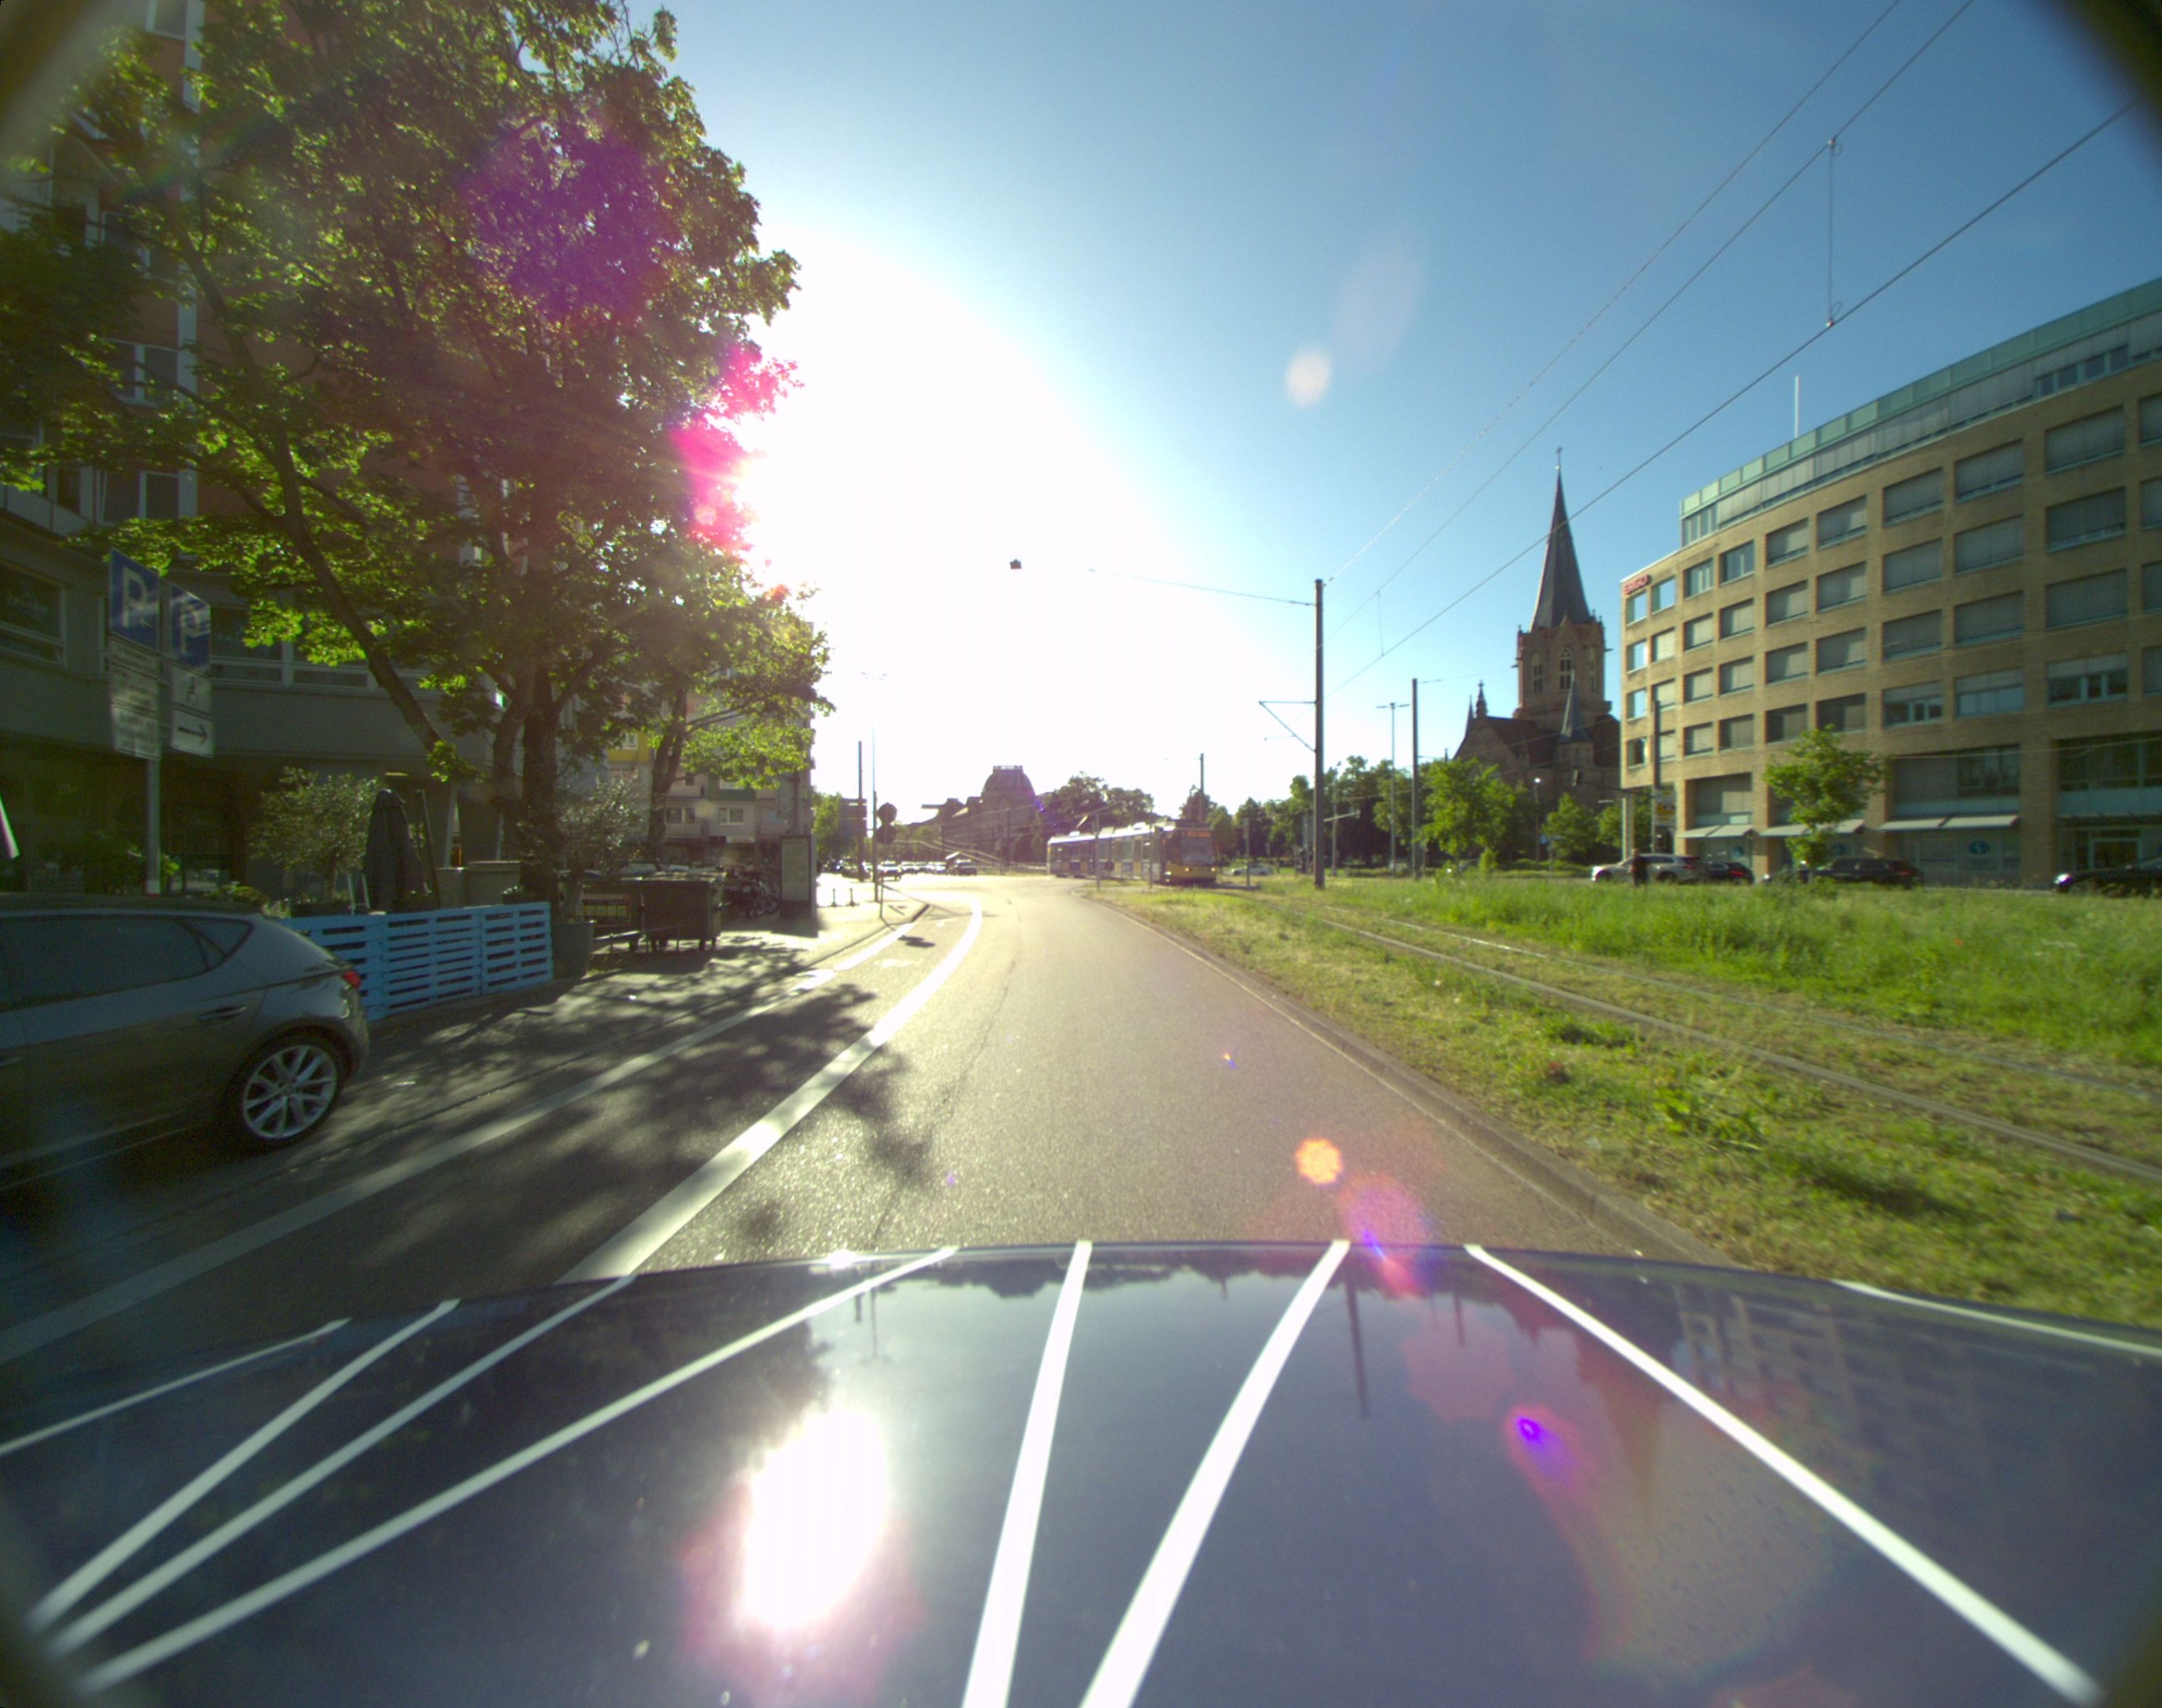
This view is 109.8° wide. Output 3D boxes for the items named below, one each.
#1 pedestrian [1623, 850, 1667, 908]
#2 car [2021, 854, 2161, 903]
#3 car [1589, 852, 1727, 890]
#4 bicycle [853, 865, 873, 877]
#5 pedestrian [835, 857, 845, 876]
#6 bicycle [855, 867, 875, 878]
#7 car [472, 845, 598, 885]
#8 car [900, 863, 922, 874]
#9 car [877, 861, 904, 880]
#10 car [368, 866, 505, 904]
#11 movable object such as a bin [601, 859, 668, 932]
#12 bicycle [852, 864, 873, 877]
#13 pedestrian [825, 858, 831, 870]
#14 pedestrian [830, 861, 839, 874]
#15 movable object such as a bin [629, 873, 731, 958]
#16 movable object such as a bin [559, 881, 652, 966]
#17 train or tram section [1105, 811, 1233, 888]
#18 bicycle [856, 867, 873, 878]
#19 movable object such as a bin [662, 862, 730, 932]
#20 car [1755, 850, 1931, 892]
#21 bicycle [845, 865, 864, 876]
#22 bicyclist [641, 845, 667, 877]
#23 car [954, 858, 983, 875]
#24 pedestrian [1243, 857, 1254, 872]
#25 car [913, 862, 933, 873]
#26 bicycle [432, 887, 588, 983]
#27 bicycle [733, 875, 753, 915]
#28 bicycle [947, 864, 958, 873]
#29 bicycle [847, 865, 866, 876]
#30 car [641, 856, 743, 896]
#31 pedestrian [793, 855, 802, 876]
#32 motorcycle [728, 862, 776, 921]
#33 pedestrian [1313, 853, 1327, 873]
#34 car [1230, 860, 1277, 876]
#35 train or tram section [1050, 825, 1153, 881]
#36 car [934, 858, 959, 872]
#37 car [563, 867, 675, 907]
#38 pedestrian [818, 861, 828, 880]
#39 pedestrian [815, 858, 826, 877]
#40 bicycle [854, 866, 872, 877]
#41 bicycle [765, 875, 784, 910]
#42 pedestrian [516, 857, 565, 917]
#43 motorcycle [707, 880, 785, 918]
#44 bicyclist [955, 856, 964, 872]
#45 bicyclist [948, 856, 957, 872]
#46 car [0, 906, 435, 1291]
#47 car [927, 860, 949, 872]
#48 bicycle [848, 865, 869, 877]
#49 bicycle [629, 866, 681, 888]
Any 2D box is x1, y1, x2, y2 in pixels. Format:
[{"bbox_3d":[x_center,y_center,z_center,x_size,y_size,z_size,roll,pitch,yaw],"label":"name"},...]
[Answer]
[{"bbox_3d":[16.441,0.713,22.151,0.735,1.661,0.745,-1,0,5],"label":"pedestrian"},{"bbox_3d":[34.006,0.752,24.022,2.001,1.439,5.011,-2,1,-19],"label":"car"},{"bbox_3d":[28.370,0.817,37.598,2.109,1.724,5.076,-1,0,-23],"label":"car"},{"bbox_3d":[-19.966,1.549,69.575,1.757,1.093,0.398,0,1,-23],"label":"bicycle"},{"bbox_3d":[-22.234,1.146,70.011,0.792,1.766,0.873,-1,0,-22],"label":"pedestrian"},{"bbox_3d":[-19.507,1.643,68.528,1.707,1.005,0.410,1,0,-24],"label":"bicycle"},{"bbox_3d":[-30.828,0.602,43.115,5.259,2.186,2.374,0,0,-17],"label":"car"},{"bbox_3d":[-20.911,1.713,93.171,1.990,1.284,4.385,-1,0,-22],"label":"car"},{"bbox_3d":[-18.059,1.530,71.986,1.905,1.677,4.110,-1,0,-22],"label":"car"},{"bbox_3d":[-27.554,1.299,32.650,4.168,1.419,1.573,-1,2,-23],"label":"car"},{"bbox_3d":[-10.804,0.973,18.445,1.261,1.699,0.943,0,1,-22],"label":"movable object such as a bin"},{"bbox_3d":[-19.865,1.470,69.163,1.759,1.070,0.405,-2,1,-23],"label":"bicycle"},{"bbox_3d":[-35.019,1.331,105.145,0.773,1.641,0.671,-1,0,-10],"label":"pedestrian"},{"bbox_3d":[-35.764,2.007,110.149,0.869,1.872,1.219,-1,0,-38],"label":"pedestrian"},{"bbox_3d":[-7.140,1.073,13.584,1.284,1.383,0.921,-2,1,-3],"label":"movable object such as a bin"},{"bbox_3d":[-8.396,1.196,13.487,1.177,1.348,0.926,-2,1,-20],"label":"movable object such as a bin"},{"bbox_3d":[4.496,-0.177,43.364,2.960,3.663,13.170,-1,0,-13],"label":"train or tram section"},{"bbox_3d":[-19.261,1.637,67.483,1.435,1.005,0.410,1,0,-20],"label":"bicycle"},{"bbox_3d":[-9.527,1.040,18.855,1.386,1.630,1.006,-1,1,-22],"label":"movable object such as a bin"},{"bbox_3d":[30.755,0.639,30.874,2.002,1.508,4.653,-2,1,-23],"label":"car"},{"bbox_3d":[-22.689,1.661,76.207,1.826,1.054,0.414,0,0,-26],"label":"bicycle"},{"bbox_3d":[-21.339,0.322,37.987,0.936,1.551,0.939,-3,1,-23],"label":"bicyclist"},{"bbox_3d":[-11.558,1.246,77.966,2.002,1.528,4.348,-2,1,-21],"label":"car"},{"bbox_3d":[20.793,1.309,94.278,0.846,1.836,1.113,-2,1,-24],"label":"pedestrian"},{"bbox_3d":[-21.127,1.790,101.489,1.861,1.284,4.088,-1,0,-22],"label":"car"},{"bbox_3d":[-8.386,1.130,11.149,2.163,1.243,0.901,-1,0,25],"label":"bicycle"},{"bbox_3d":[-11.393,1.361,25.621,0.534,1.237,1.844,-3,1,-23],"label":"bicycle"},{"bbox_3d":[-13.940,1.606,82.288,0.632,0.934,1.902,-3,1,-27],"label":"bicycle"},{"bbox_3d":[-22.308,1.677,75.472,1.826,1.054,0.414,-1,1,-26],"label":"bicycle"},{"bbox_3d":[-20.605,1.137,40.492,4.606,1.840,1.943,-2,1,-22],"label":"car"},{"bbox_3d":[-23.419,0.938,62.720,0.569,1.763,0.663,-1,0,-14],"label":"pedestrian"},{"bbox_3d":[-9.221,1.014,21.387,0.805,1.530,2.542,-2,0,-15],"label":"motorcycle"},{"bbox_3d":[24.305,0.903,77.244,0.880,2.002,0.923,-2,1,-20],"label":"pedestrian"},{"bbox_3d":[18.788,1.549,82.643,4.703,1.565,1.771,-2,1,23],"label":"car"},{"bbox_3d":[1.112,0.005,56.100,2.961,3.591,13.613,-1,0,-19],"label":"train or tram section"},{"bbox_3d":[-15.518,1.220,87.431,2.002,1.421,4.125,-2,1,-21],"label":"car"},{"bbox_3d":[-21.323,1.504,35.272,4.168,1.494,1.841,-2,3,-23],"label":"car"},{"bbox_3d":[-25.555,1.657,75.231,0.792,1.875,0.874,-1,0,-14],"label":"pedestrian"},{"bbox_3d":[-24.913,1.290,72.607,0.867,1.824,1.208,-1,0,-22],"label":"pedestrian"},{"bbox_3d":[-20.094,1.599,69.988,1.549,0.960,0.386,-2,1,-21],"label":"bicycle"},{"bbox_3d":[-10.702,1.328,26.518,0.477,1.110,2.115,-3,1,-24],"label":"bicycle"},{"bbox_3d":[-17.310,1.041,24.352,0.828,1.834,0.891,-2,1,1],"label":"pedestrian"},{"bbox_3d":[-10.231,1.361,23.269,2.105,1.016,0.761,-2,0,-20],"label":"motorcycle"},{"bbox_3d":[-13.226,1.071,82.548,0.695,1.650,0.918,-3,1,-22],"label":"bicyclist"},{"bbox_3d":[-13.952,1.063,82.254,0.705,1.720,0.852,-3,2,-27],"label":"bicyclist"},{"bbox_3d":[-5.263,1.050,2.826,1.770,1.429,4.583,0,0,1],"label":"car"},{"bbox_3d":[-17.977,1.460,95.179,1.894,1.421,4.125,-2,1,-21],"label":"car"},{"bbox_3d":[-21.588,1.642,73.726,1.826,1.063,0.414,0,2,-26],"label":"bicycle"},{"bbox_3d":[-21.290,1.130,38.007,2.151,0.995,0.859,-2,1,-23],"label":"bicycle"}]
